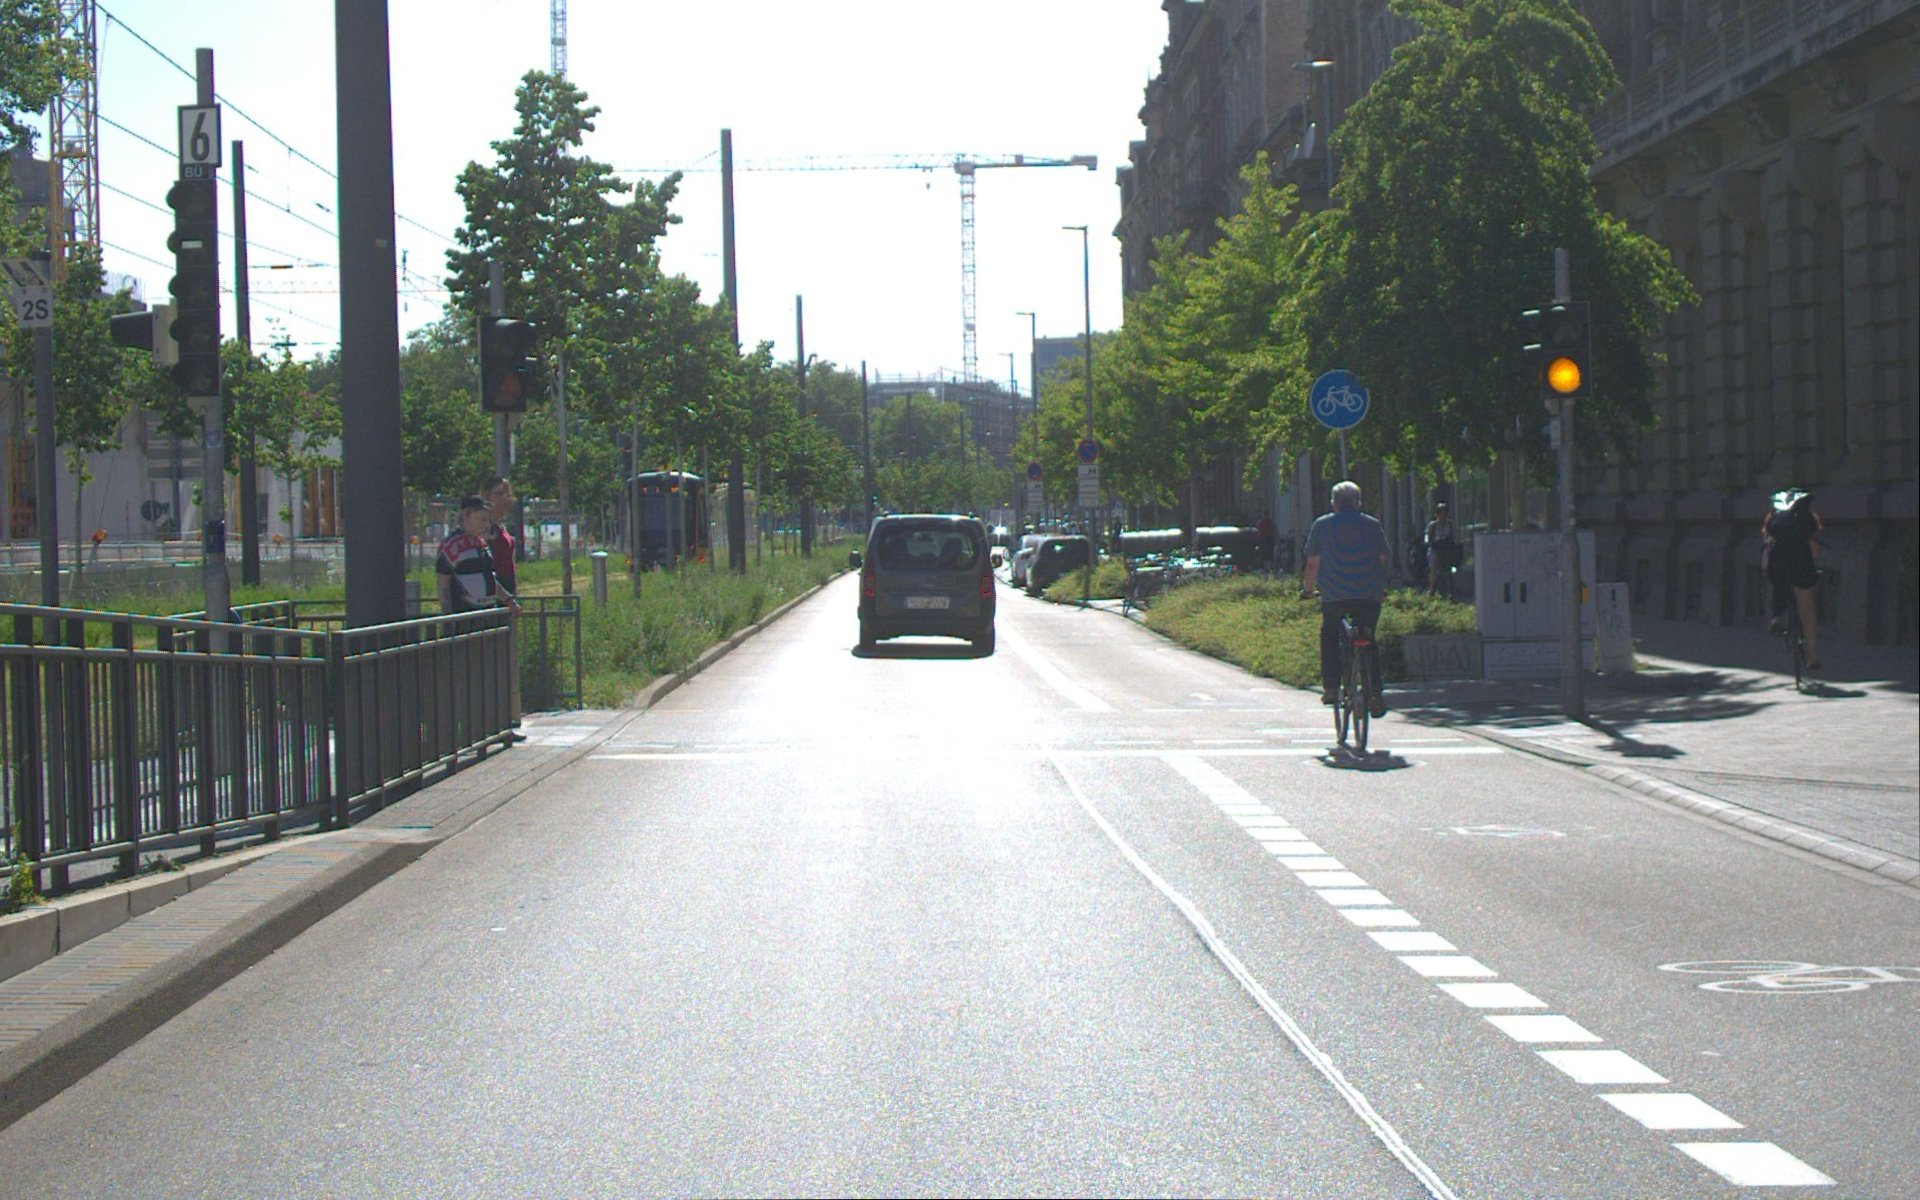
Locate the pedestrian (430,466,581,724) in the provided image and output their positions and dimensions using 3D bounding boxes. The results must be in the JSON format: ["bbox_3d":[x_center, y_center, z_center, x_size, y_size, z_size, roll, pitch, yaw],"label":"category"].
[{"bbox_3d":[-3.433,-0.045,25.995,1.075,1.902,0.653,-1,1,-7],"label":"pedestrian"}]

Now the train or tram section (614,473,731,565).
[{"bbox_3d":[-8.848,-2.454,106.792,2.756,2.733,9.864,0,1,0],"label":"train or tram section"}]

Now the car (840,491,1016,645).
[{"bbox_3d":[-0.453,-0.455,46.250,2.200,1.919,4.654,-1,1,-1],"label":"car"}]

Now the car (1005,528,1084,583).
[{"bbox_3d":[2.420,-1.298,99.304,2.028,1.493,4.530,-1,1,-1],"label":"car"}]

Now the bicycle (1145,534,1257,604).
[{"bbox_3d":[4.143,-0.536,59.121,1.792,1.027,0.527,-5,1,-1],"label":"bicycle"}]

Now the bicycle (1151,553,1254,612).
[{"bbox_3d":[4.379,-0.314,62.097,1.792,1.027,0.527,-1,1,-1],"label":"bicycle"}]

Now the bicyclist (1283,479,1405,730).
[{"bbox_3d":[2.607,0.021,23.411,0.684,1.667,0.922,1,1,-2],"label":"bicyclist"}]

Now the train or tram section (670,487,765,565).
[{"bbox_3d":[-8.854,-2.672,126.486,2.756,2.733,9.864,0,1,0],"label":"train or tram section"}]

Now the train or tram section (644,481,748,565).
[{"bbox_3d":[-8.878,-2.563,116.639,2.756,2.733,9.864,0,1,0],"label":"train or tram section"}]

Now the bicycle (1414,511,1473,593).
[{"bbox_3d":[7.378,-0.745,52.487,0.583,1.218,1.900,-1,1,-1],"label":"bicycle"}]

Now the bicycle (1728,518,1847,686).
[{"bbox_3d":[7.100,-0.003,29.575,0.615,1.326,1.900,-5,1,5],"label":"bicycle"}]

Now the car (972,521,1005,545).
[{"bbox_3d":[1.851,-4.338,223.395,2.028,1.493,4.331,-1,1,-1],"label":"car"}]

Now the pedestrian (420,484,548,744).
[{"bbox_3d":[-3.335,0.084,24.123,0.865,1.782,0.971,0,1,-7],"label":"pedestrian"}]

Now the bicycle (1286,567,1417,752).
[{"bbox_3d":[2.637,0.379,23.311,0.601,1.177,1.869,1,1,-2],"label":"bicycle"}]

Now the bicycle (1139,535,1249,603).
[{"bbox_3d":[4.113,-0.551,60.495,1.792,1.027,0.527,-5,1,-1],"label":"bicycle"}]

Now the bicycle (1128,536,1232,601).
[{"bbox_3d":[4.066,-0.587,63.613,1.792,1.027,0.527,-5,1,-1],"label":"bicycle"}]

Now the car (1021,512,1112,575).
[{"bbox_3d":[2.671,-1.442,86.945,2.028,1.493,4.654,-1,1,-1],"label":"car"}]

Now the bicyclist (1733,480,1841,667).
[{"bbox_3d":[7.091,-0.237,29.503,0.660,1.525,0.801,-5,1,5],"label":"bicyclist"}]

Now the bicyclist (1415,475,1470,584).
[{"bbox_3d":[7.361,-1.072,52.472,0.666,1.633,0.960,-1,1,-1],"label":"bicyclist"}]
